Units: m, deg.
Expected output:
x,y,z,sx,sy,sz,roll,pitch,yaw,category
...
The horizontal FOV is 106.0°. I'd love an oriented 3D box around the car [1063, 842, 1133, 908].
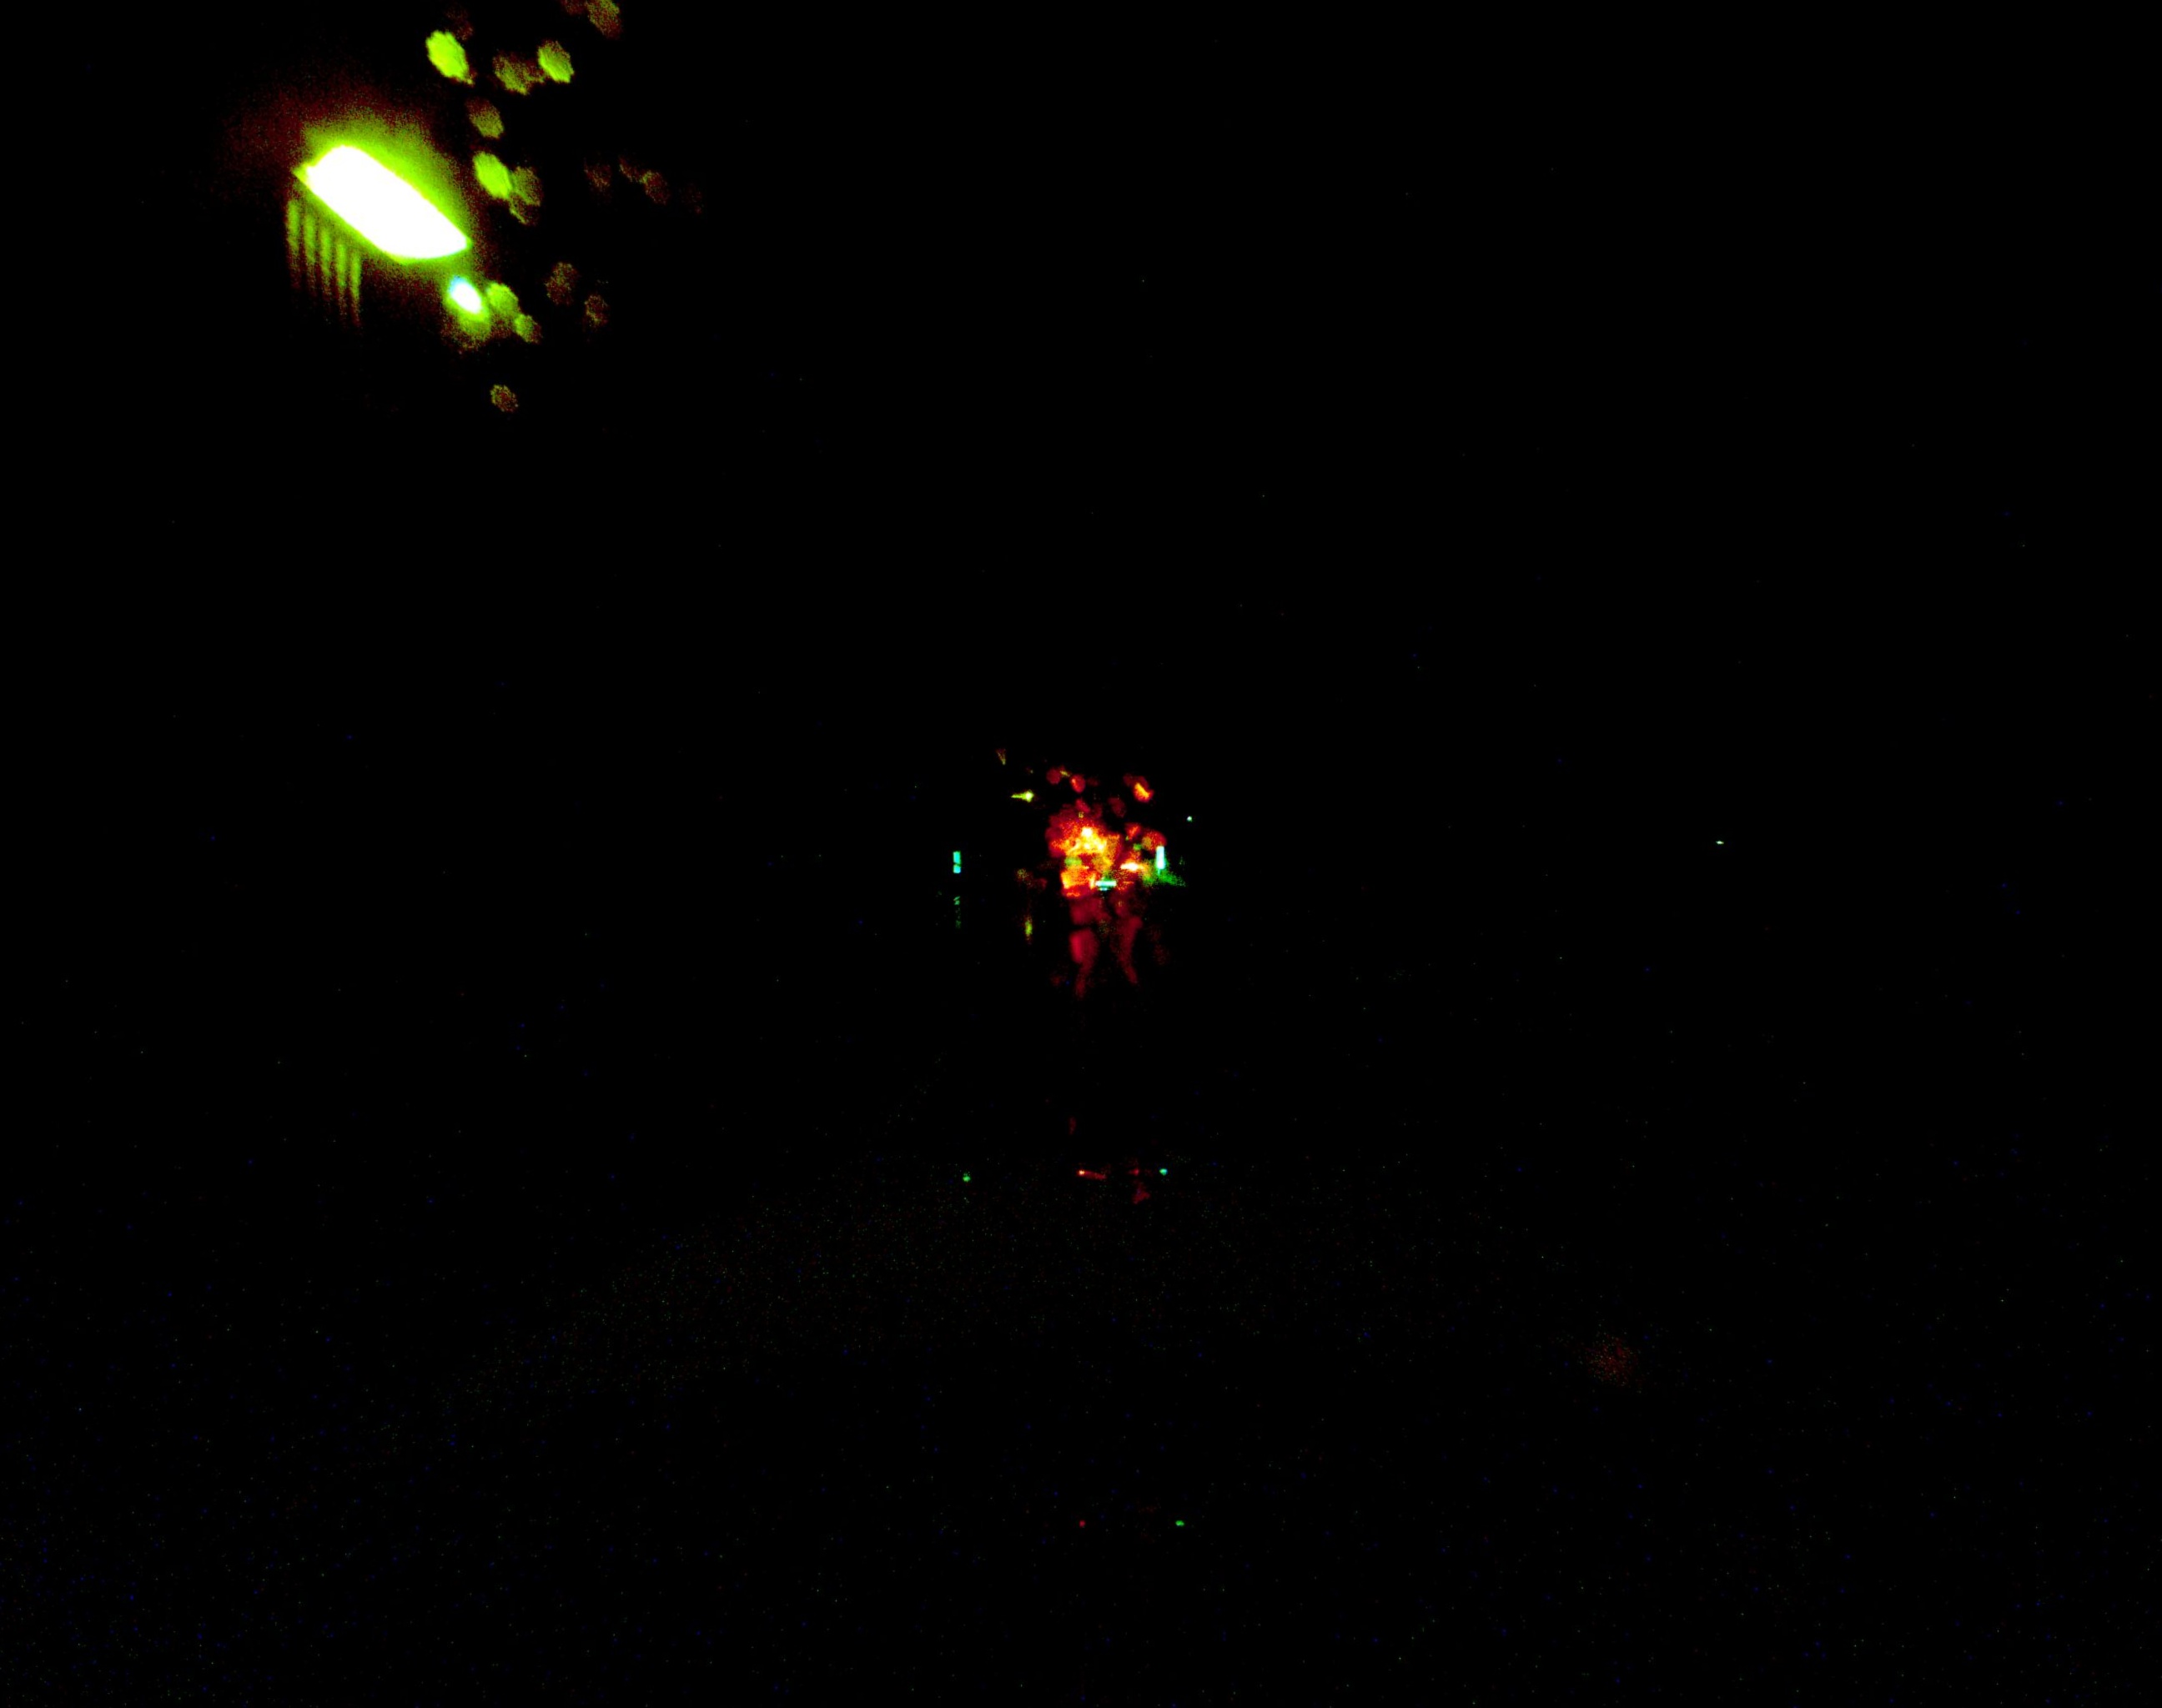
x,y,z,sx,sy,sz,roll,pitch,yaw,category
0.542,0.509,23.013,1.783,1.681,3.907,-1,1,3,car
